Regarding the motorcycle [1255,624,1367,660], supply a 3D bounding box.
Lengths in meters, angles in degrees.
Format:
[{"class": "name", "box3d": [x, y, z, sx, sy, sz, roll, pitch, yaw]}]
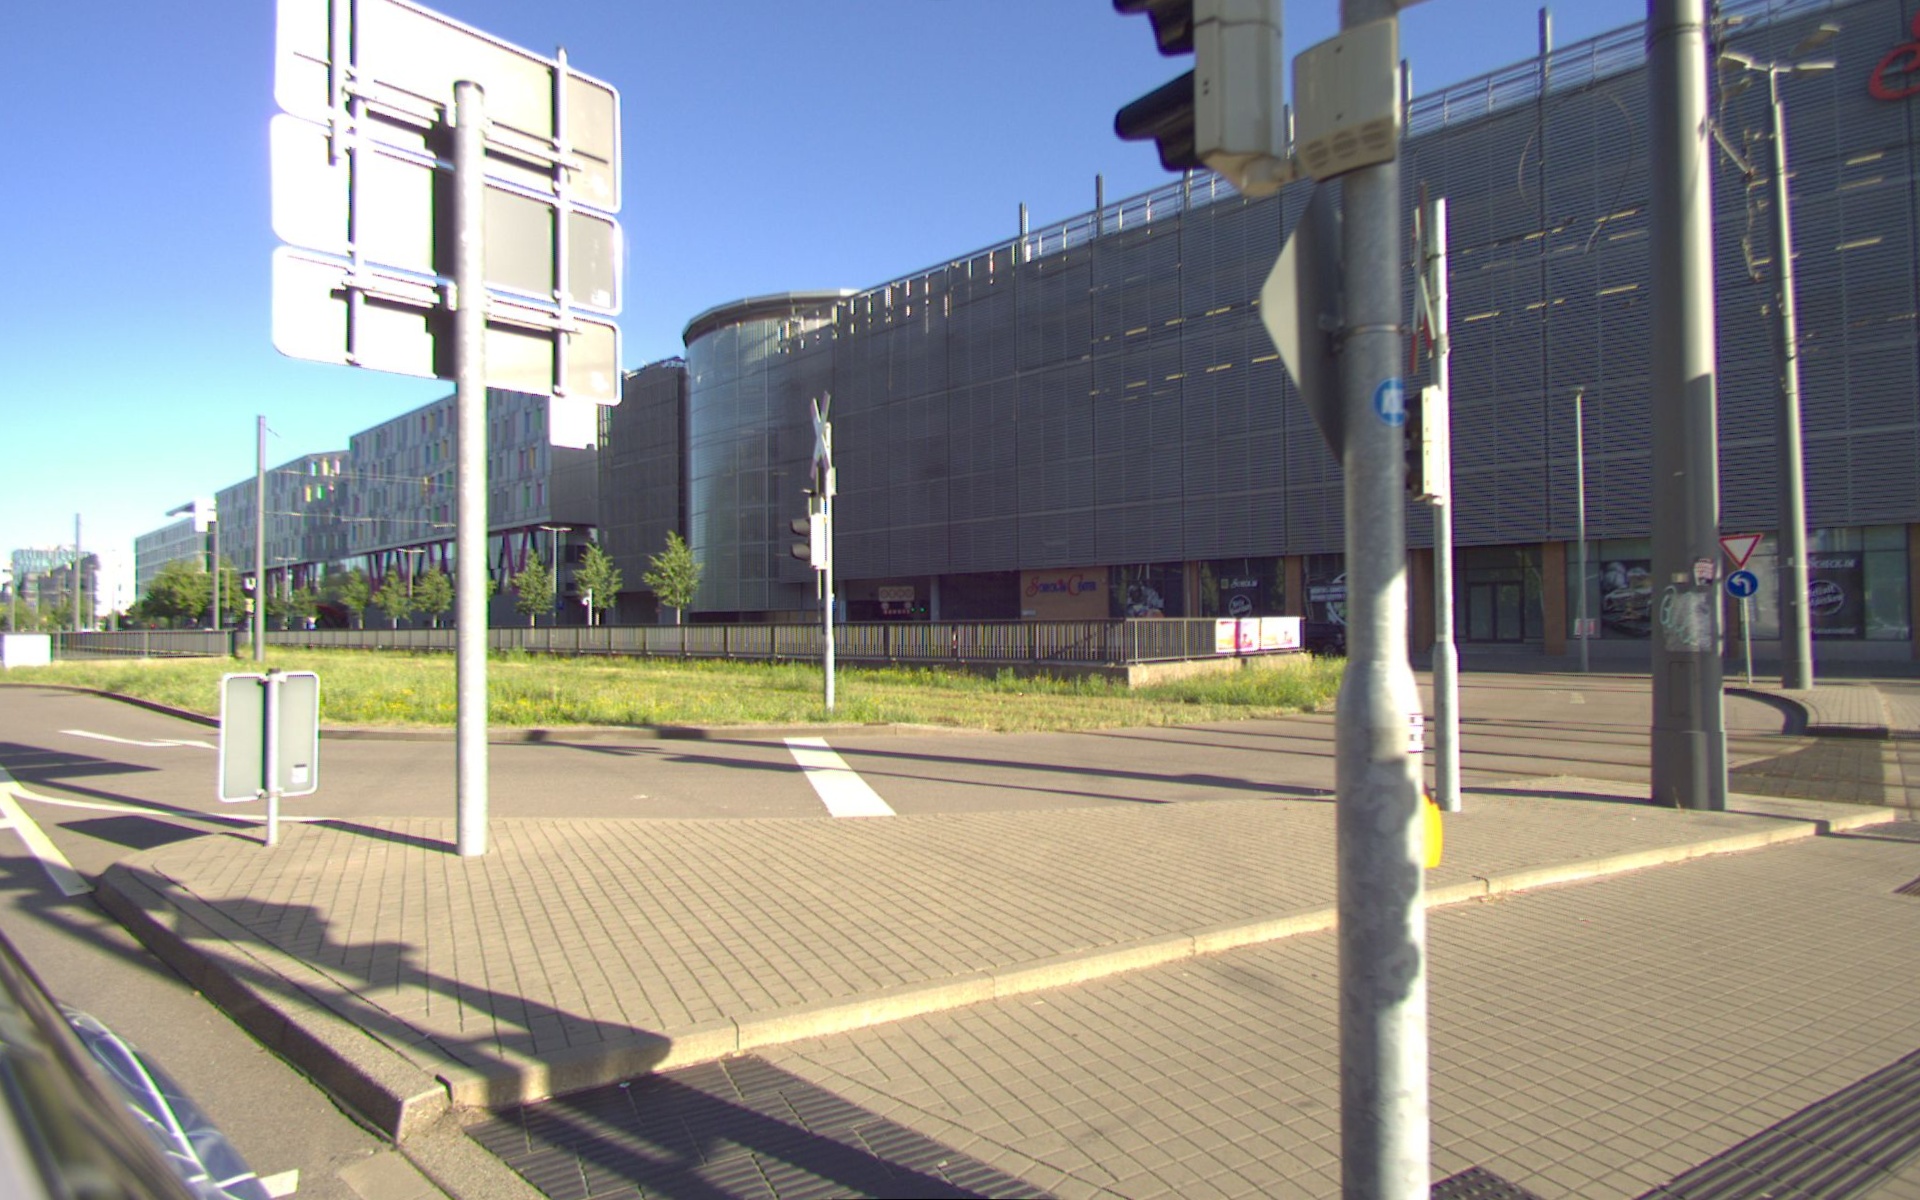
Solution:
[{"class": "motorcycle", "box3d": [14.757, 1.762, 42.702, 4.000, 1.464, 1.972, -2, -2, 43]}]
